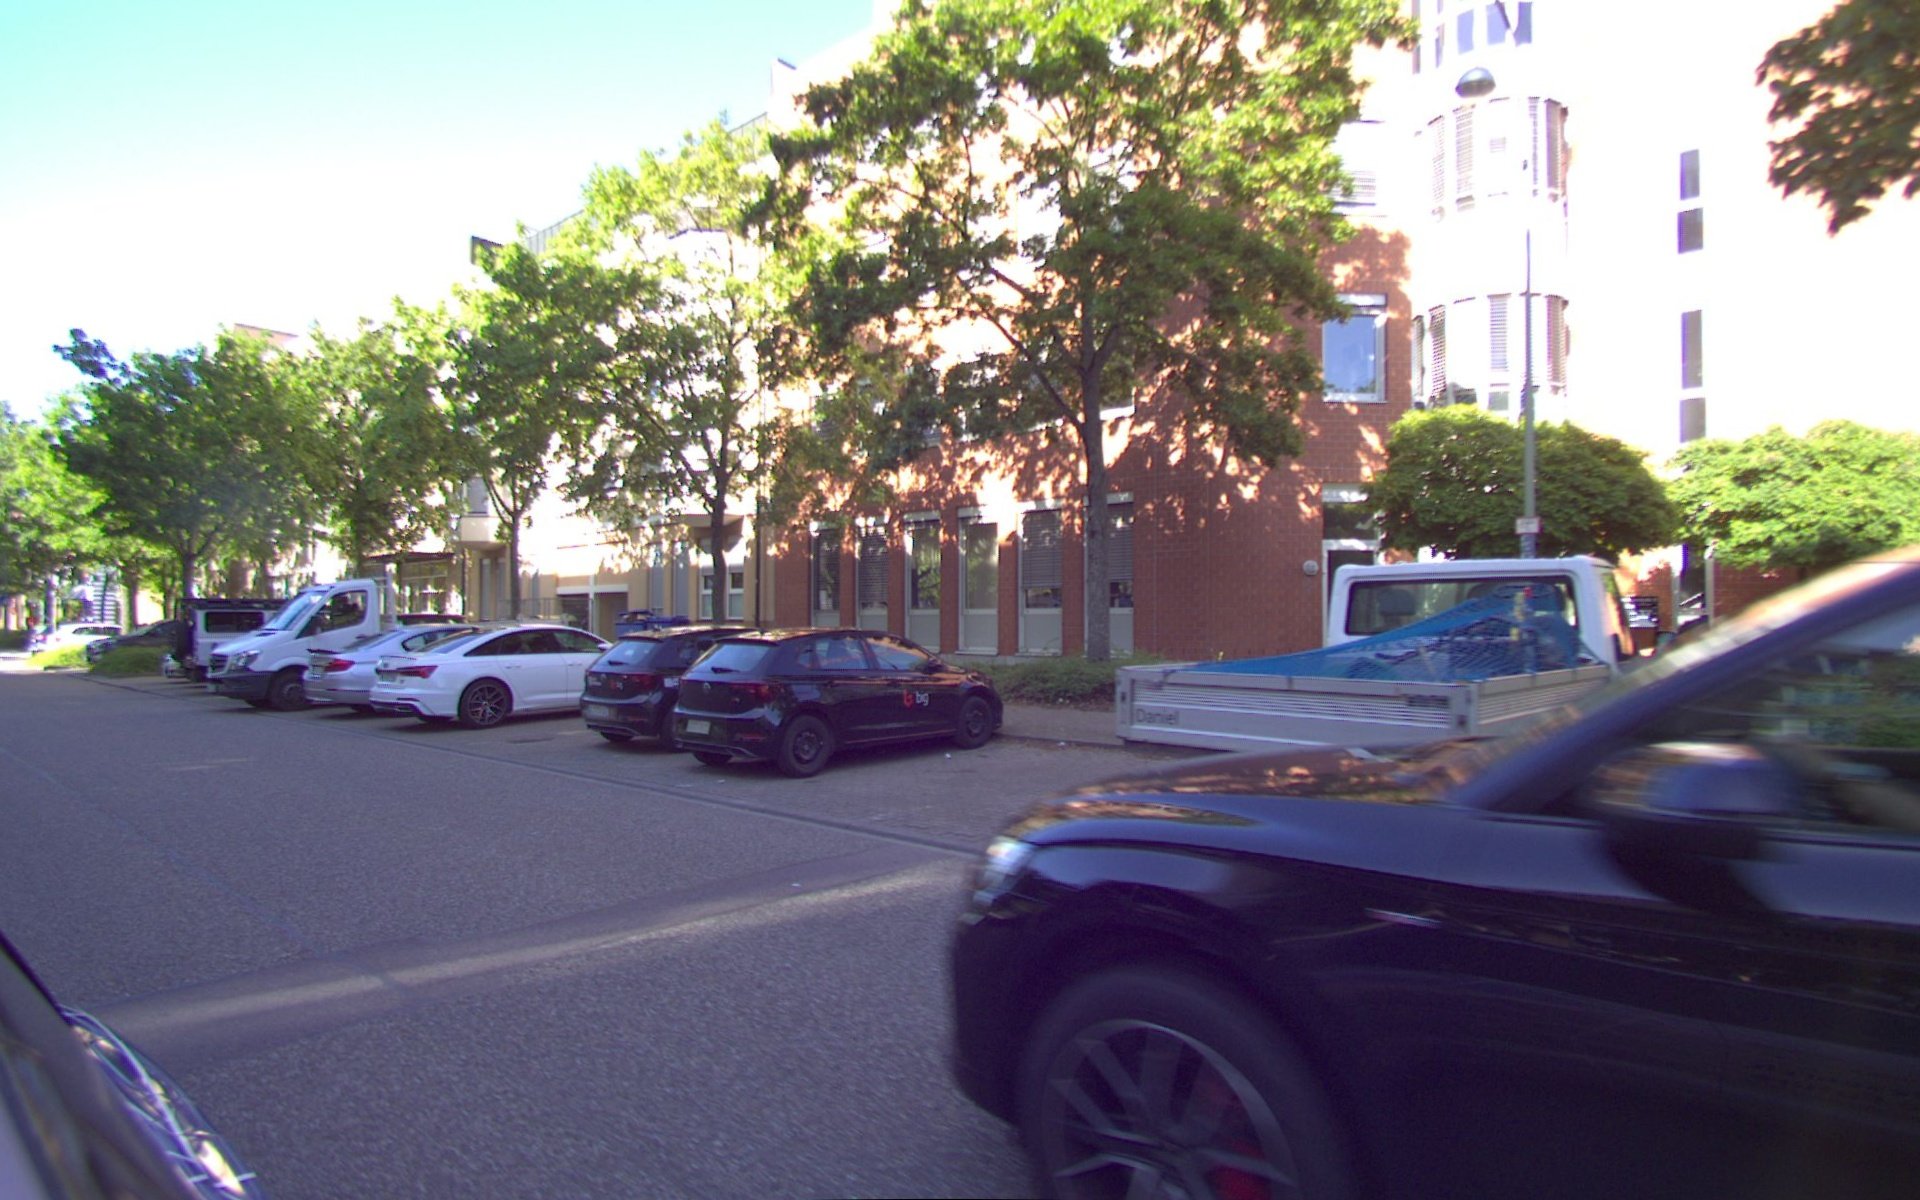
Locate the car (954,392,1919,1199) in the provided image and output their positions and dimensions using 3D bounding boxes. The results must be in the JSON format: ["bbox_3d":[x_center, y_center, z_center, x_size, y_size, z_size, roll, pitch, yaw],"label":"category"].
[{"bbox_3d":[2.252,0.605,1.552,4.348,1.697,1.873,-1,-2,39],"label":"car"}]

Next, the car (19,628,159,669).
[{"bbox_3d":[-35.668,1.951,41.523,1.800,1.413,4.109,-1,0,40],"label":"car"}]

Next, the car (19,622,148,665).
[{"bbox_3d":[-37.469,1.826,43.310,1.727,1.582,3.947,-1,0,40],"label":"car"}]

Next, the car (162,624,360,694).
[{"bbox_3d":[-17.278,1.407,25.138,1.832,1.504,3.738,-2,-1,42],"label":"car"}]

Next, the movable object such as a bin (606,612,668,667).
[{"bbox_3d":[-9.842,1.190,30.840,1.435,1.632,1.137,-1,-2,29],"label":"movable object such as a bin"}]

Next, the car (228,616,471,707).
[{"bbox_3d":[-13.023,1.227,21.756,1.999,1.674,4.064,-1,0,41],"label":"car"}]

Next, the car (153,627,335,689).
[{"bbox_3d":[-19.361,1.516,27.477,1.733,1.472,3.791,-2,-1,44],"label":"car"}]

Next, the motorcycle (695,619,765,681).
[{"bbox_3d":[-6.213,1.326,27.254,2.108,1.603,0.707,-2,-3,40],"label":"motorcycle"}]

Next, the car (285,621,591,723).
[{"bbox_3d":[-9.025,1.158,17.808,1.998,1.498,4.383,-1,-1,39],"label":"car"}]

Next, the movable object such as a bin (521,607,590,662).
[{"bbox_3d":[-13.586,1.154,34.010,1.664,1.810,1.582,-2,-2,42],"label":"movable object such as a bin"}]

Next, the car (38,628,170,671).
[{"bbox_3d":[-33.463,1.907,39.636,1.753,1.463,3.716,-1,0,40],"label":"car"}]

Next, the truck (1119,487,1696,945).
[{"bbox_3d":[3.361,0.593,6.924,2.138,1.974,4.930,-2,-3,43],"label":"truck"}]

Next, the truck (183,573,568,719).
[{"bbox_3d":[-11.194,0.884,19.915,2.186,2.440,6.166,-2,-3,41],"label":"truck"}]

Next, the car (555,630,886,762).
[{"bbox_3d":[-2.954,1.118,13.145,1.721,1.446,3.945,-2,-2,41],"label":"car"}]

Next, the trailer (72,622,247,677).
[{"bbox_3d":[-26.298,1.581,33.363,1.853,1.584,4.221,-1,0,37],"label":"trailer"}]

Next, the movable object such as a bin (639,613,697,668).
[{"bbox_3d":[-8.705,1.196,30.185,1.239,1.575,1.137,-1,-2,29],"label":"movable object such as a bin"}]

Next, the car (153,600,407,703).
[{"bbox_3d":[-15.402,1.063,23.116,1.998,2.067,4.438,-1,0,39],"label":"car"}]

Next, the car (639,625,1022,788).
[{"bbox_3d":[-1.281,1.005,11.165,1.790,1.446,3.941,-1,-2,45],"label":"car"}]

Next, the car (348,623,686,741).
[{"bbox_3d":[-6.774,1.172,15.891,1.888,1.453,4.496,-2,-1,39],"label":"car"}]
